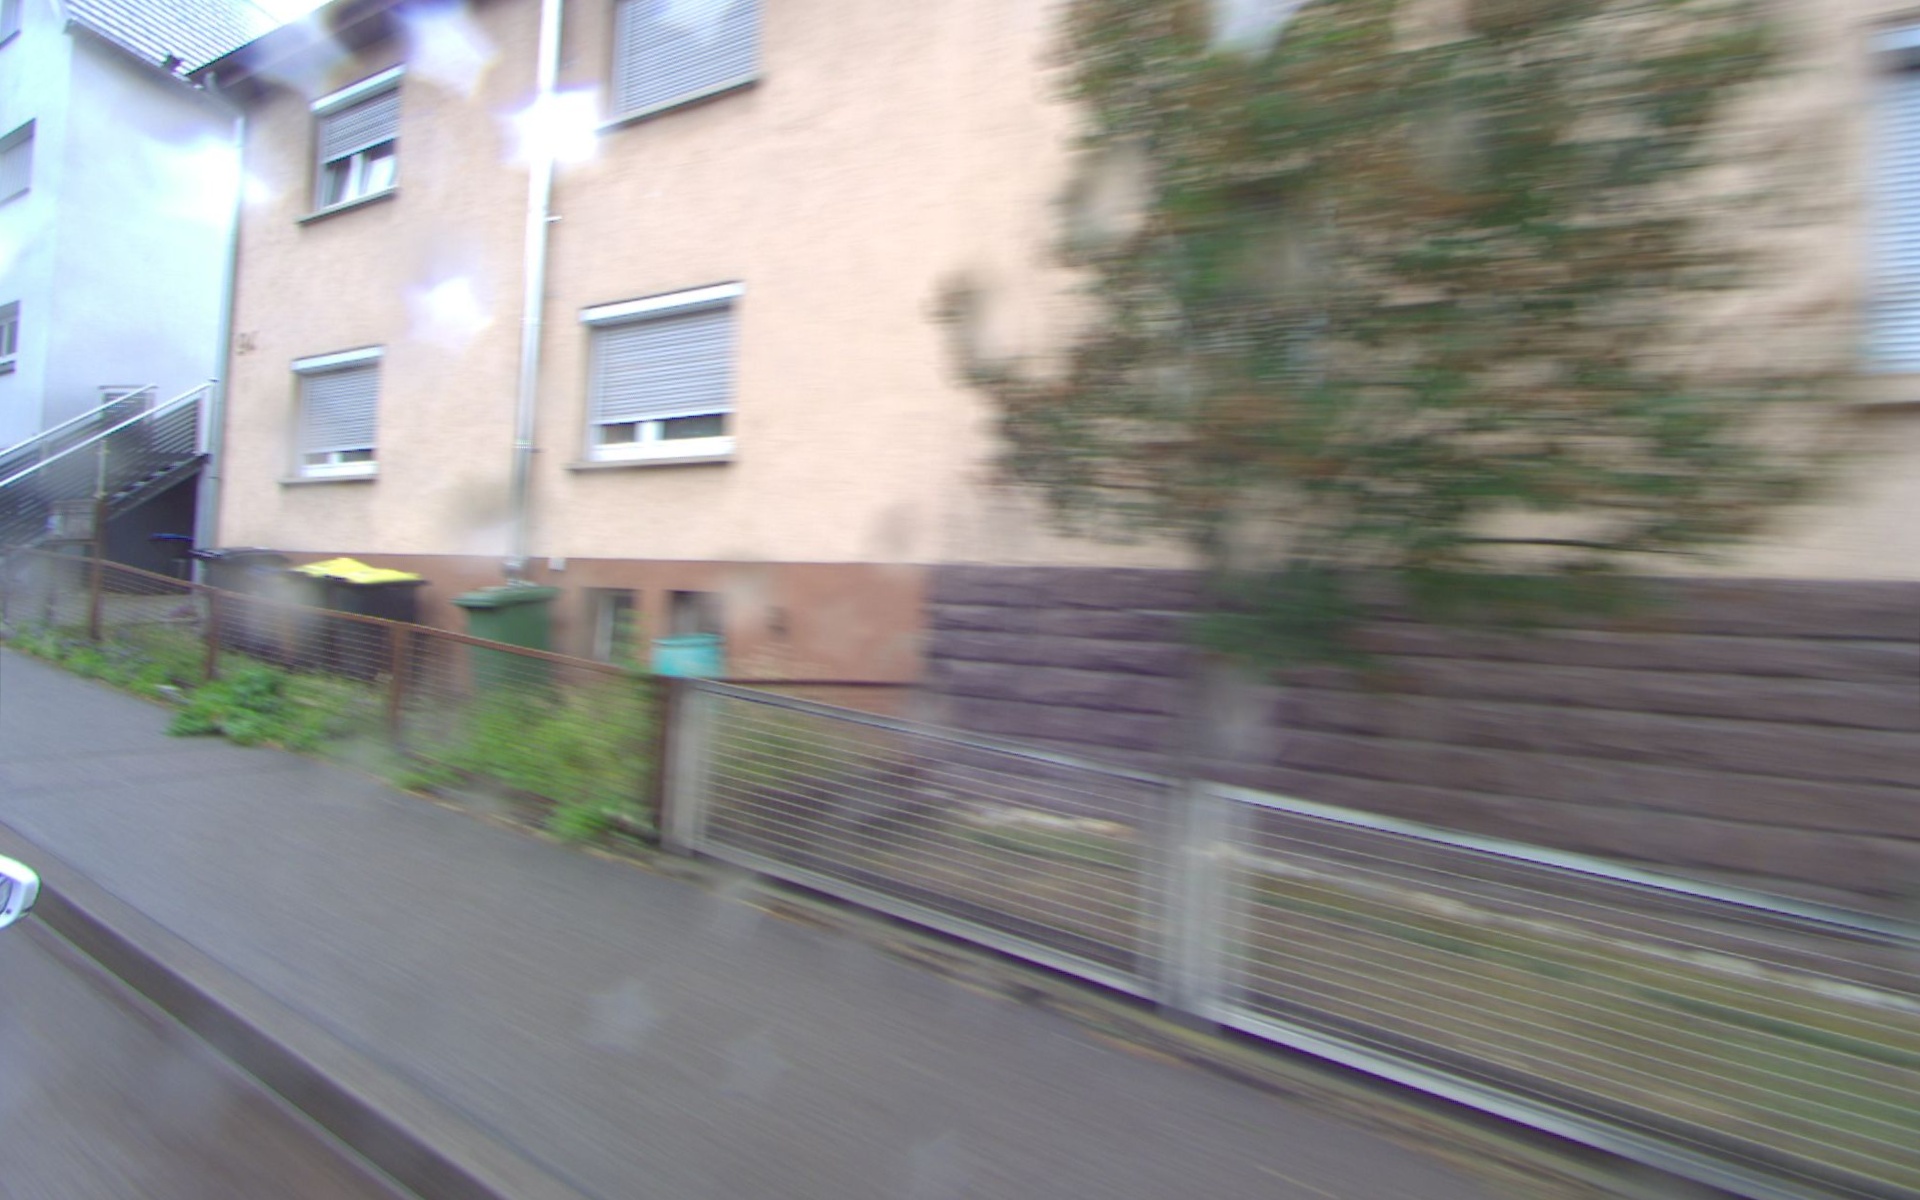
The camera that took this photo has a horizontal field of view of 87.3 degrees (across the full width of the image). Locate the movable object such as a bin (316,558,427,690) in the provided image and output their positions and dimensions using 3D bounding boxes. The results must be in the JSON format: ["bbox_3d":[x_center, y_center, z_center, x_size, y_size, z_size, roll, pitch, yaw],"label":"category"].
[{"bbox_3d":[-5.315,0.204,9.096,0.536,1.108,0.644,7,4,30],"label":"movable object such as a bin"}]

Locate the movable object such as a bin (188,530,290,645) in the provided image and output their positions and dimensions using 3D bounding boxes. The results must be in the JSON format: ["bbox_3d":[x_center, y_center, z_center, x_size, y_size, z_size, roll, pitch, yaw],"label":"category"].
[{"bbox_3d":[-7.431,-0.131,10.374,0.536,1.108,0.660,7,4,30],"label":"movable object such as a bin"}]

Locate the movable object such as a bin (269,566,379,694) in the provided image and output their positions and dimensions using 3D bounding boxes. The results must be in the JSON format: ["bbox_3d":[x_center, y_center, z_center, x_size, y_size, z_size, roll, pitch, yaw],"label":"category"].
[{"bbox_3d":[-5.915,0.268,9.369,0.536,1.108,0.660,7,4,30],"label":"movable object such as a bin"}]

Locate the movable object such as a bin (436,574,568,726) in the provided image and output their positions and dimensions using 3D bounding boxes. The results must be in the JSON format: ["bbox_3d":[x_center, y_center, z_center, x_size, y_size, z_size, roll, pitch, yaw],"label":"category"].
[{"bbox_3d":[-3.682,0.387,8.098,0.645,1.108,0.660,7,3,30],"label":"movable object such as a bin"}]

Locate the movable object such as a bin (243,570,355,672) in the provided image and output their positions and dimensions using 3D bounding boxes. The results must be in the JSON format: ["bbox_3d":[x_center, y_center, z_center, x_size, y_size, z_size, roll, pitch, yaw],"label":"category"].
[{"bbox_3d":[-6.459,0.213,9.841,0.527,0.906,0.670,7,0,31],"label":"movable object such as a bin"}]

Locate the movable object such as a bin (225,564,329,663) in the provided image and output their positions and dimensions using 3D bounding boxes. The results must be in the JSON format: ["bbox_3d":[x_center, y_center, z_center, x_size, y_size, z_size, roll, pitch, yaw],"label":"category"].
[{"bbox_3d":[-6.906,0.143,10.180,0.527,0.906,0.638,7,0,31],"label":"movable object such as a bin"}]
